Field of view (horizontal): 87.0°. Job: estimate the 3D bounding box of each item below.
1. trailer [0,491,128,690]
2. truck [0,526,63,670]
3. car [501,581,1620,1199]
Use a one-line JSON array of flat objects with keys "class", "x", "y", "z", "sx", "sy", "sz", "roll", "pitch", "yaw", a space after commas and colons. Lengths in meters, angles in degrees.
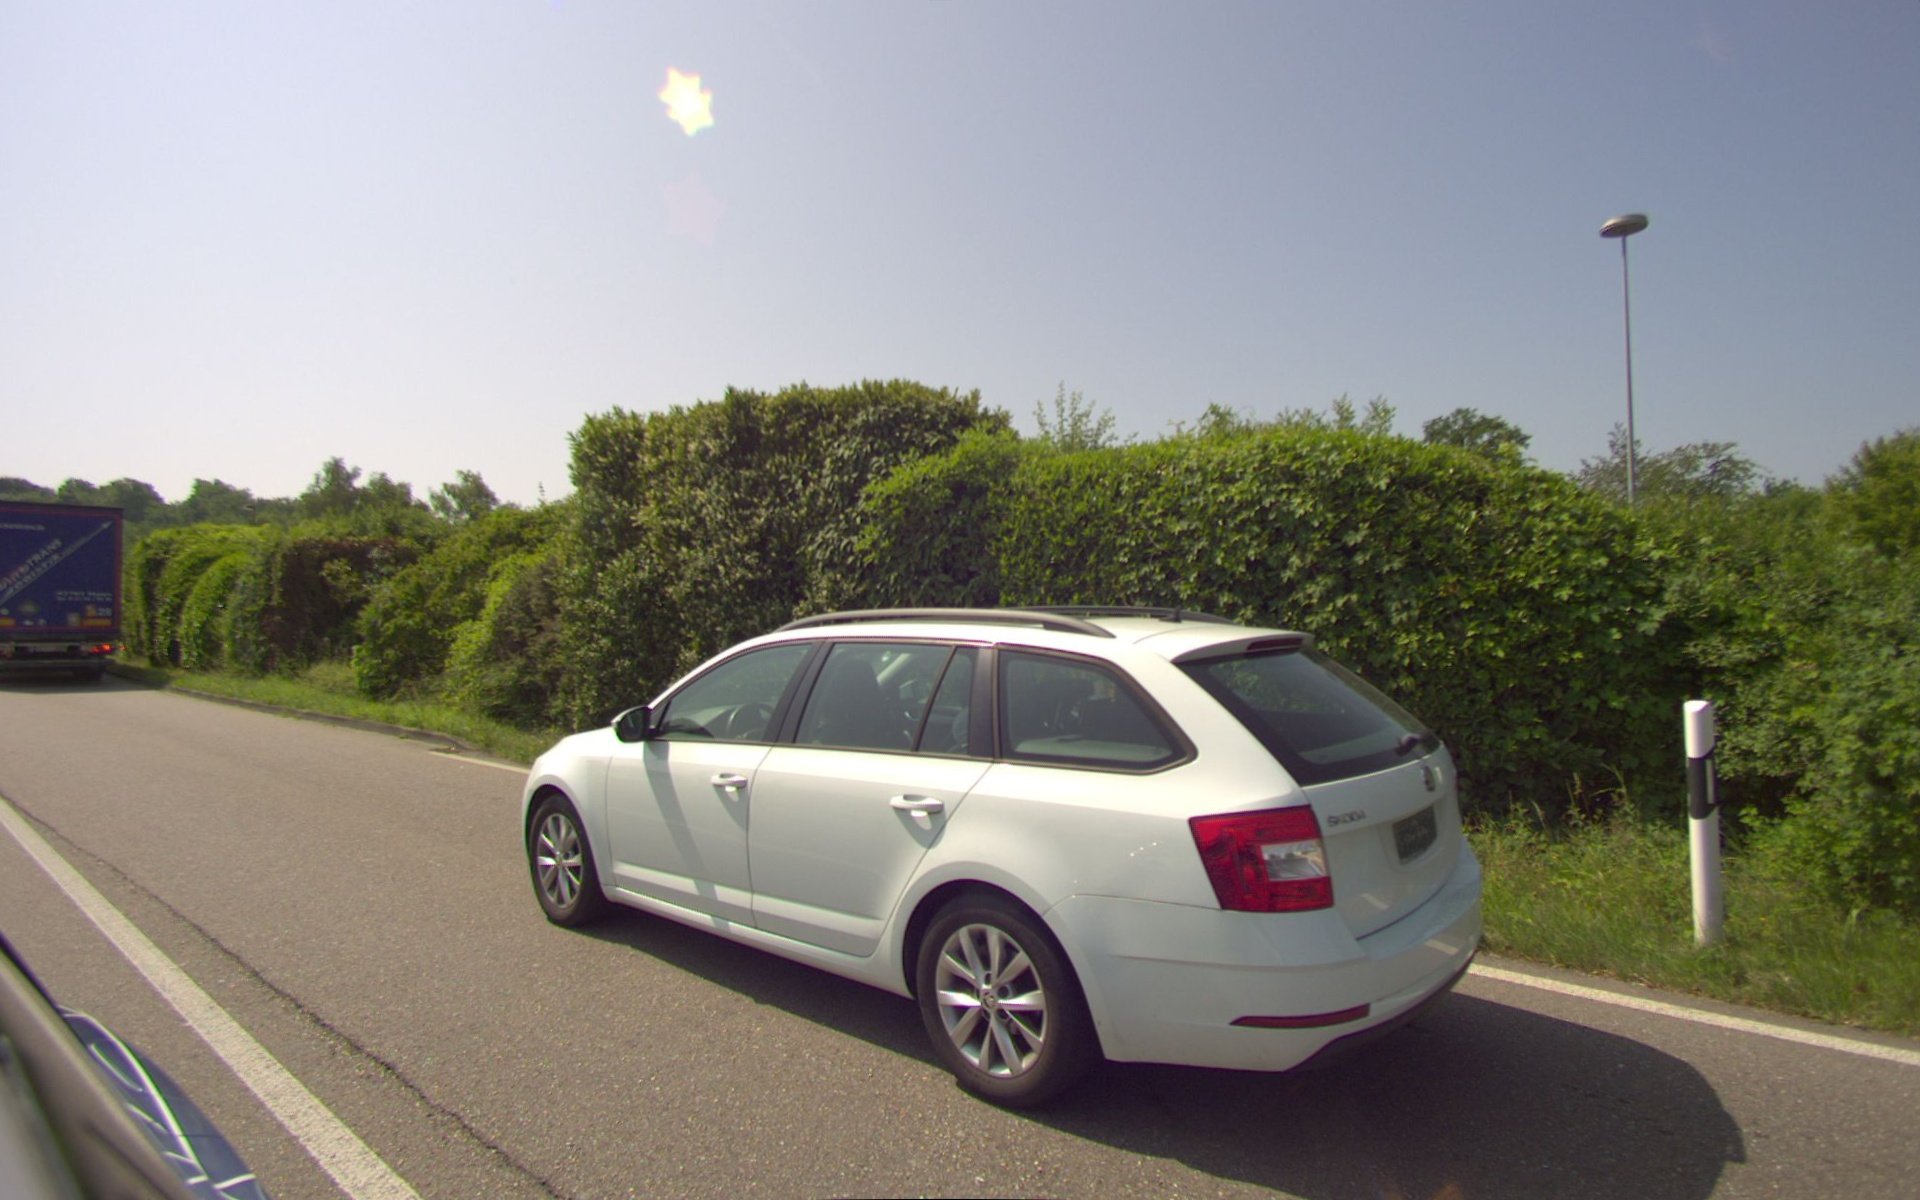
[{"class": "trailer", "x": -25.405, "y": -0.112, "z": 27.338, "sx": 14.566, "sy": 4.273, "sz": 2.641, "roll": -1, "pitch": 0, "yaw": 43}, {"class": "truck", "x": -30.776, "y": -0.019, "z": 32.339, "sx": 6.112, "sy": 4.290, "sz": 2.486, "roll": -1, "pitch": -2, "yaw": 43}, {"class": "car", "x": -0.021, "y": 0.729, "z": 4.204, "sx": 4.408, "sy": 1.481, "sz": 1.809, "roll": -1, "pitch": 0, "yaw": 42}]
